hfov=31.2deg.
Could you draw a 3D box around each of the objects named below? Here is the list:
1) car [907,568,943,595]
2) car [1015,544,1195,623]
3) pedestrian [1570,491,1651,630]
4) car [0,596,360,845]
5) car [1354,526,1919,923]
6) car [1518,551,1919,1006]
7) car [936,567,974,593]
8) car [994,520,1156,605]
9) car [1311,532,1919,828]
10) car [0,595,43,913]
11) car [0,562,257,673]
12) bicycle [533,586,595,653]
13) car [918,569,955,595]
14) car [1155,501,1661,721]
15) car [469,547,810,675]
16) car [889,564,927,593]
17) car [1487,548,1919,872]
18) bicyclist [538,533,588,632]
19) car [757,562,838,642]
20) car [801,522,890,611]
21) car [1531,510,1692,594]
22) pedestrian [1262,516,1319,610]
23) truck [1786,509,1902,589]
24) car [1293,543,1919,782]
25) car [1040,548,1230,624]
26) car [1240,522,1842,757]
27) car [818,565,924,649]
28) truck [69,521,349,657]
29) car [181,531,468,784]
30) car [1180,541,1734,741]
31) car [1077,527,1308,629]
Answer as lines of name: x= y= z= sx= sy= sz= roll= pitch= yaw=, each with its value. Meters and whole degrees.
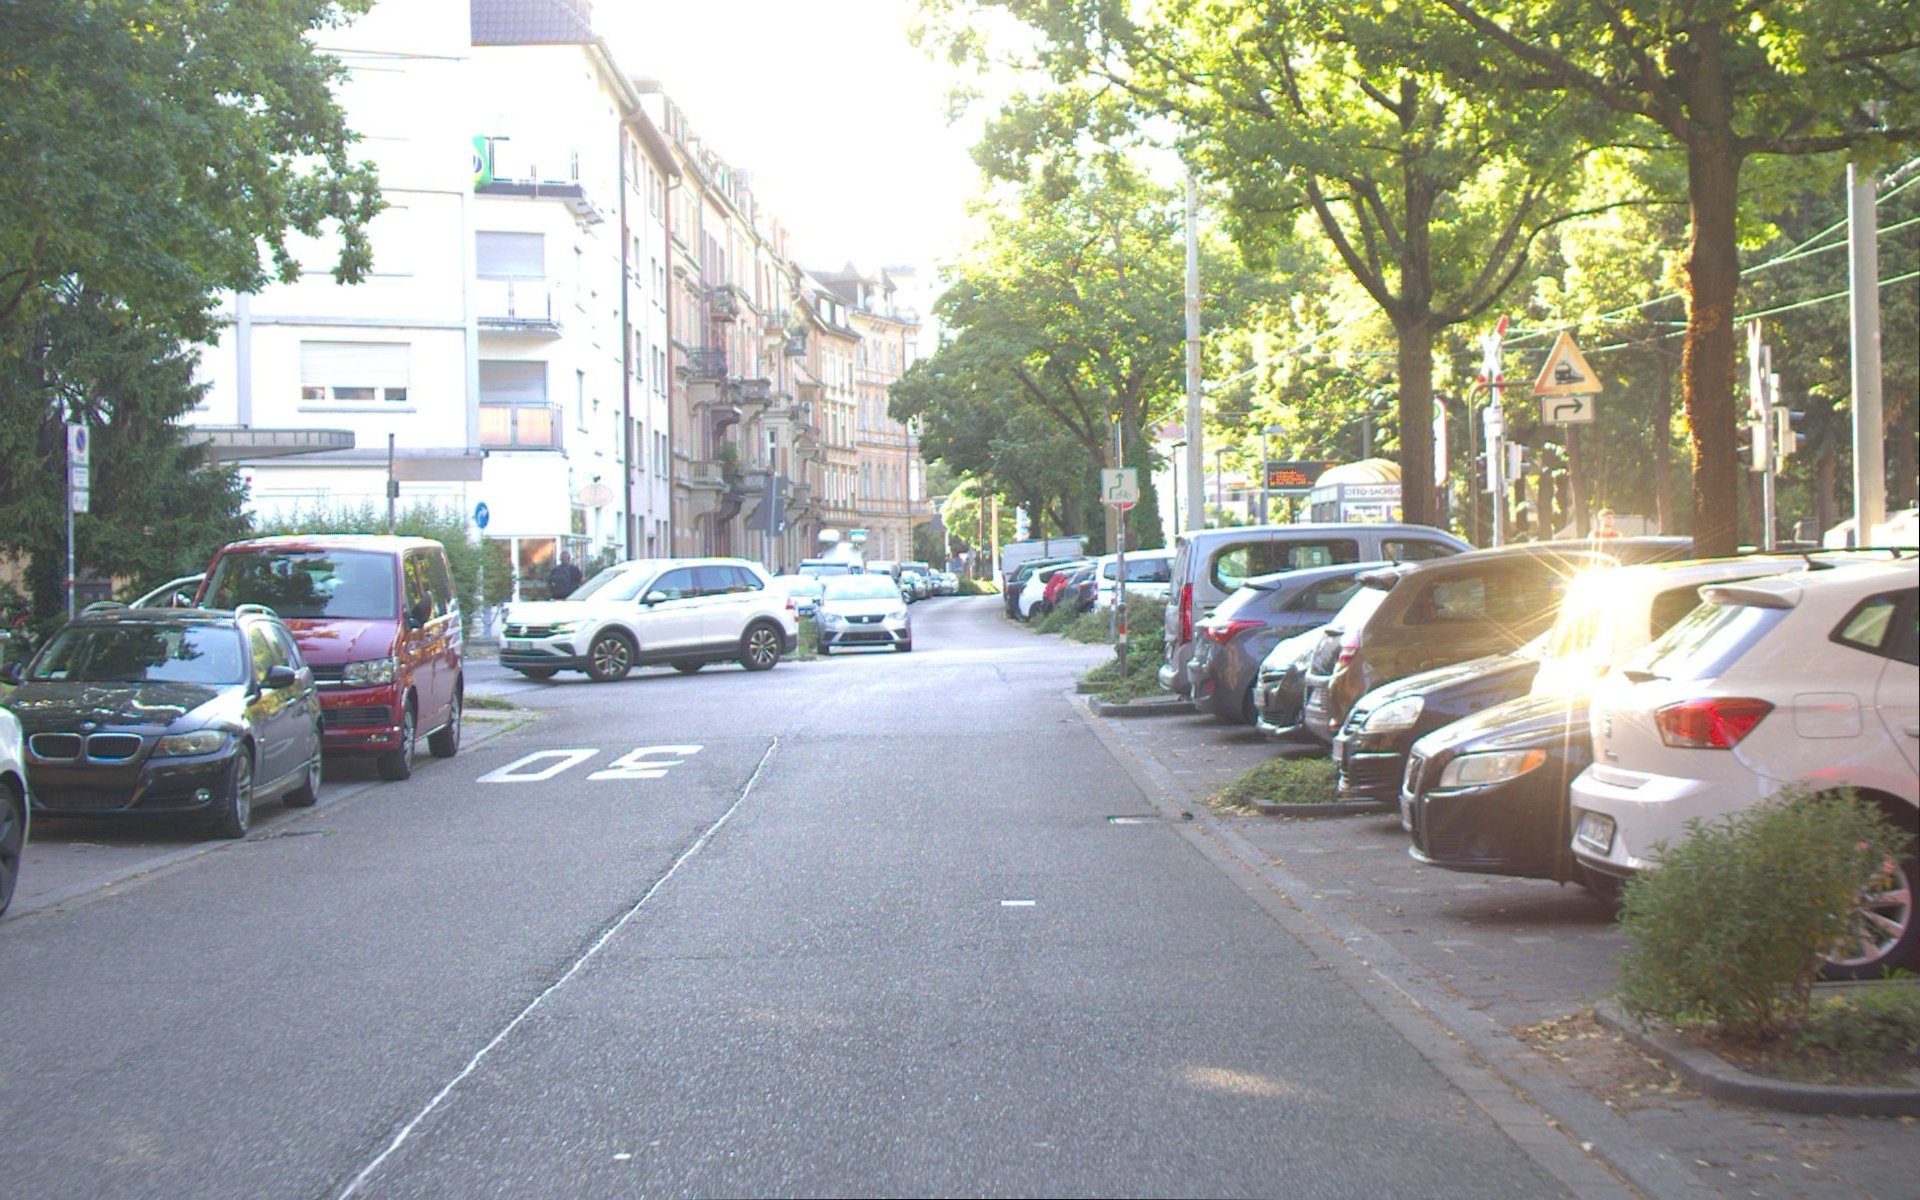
car: x=-2.042 y=-1.070 z=199.778 sx=1.711 sy=1.441 sz=4.000 roll=-2 pitch=1 yaw=4
car: x=3.751 y=-0.420 z=89.454 sx=4.236 sy=1.645 sz=1.854 roll=-5 pitch=0 yaw=36
pedestrian: x=9.173 y=-0.562 z=48.523 sx=0.902 sy=1.912 sz=1.150 roll=-1 pitch=1 yaw=0
car: x=-5.336 y=0.725 z=22.928 sx=1.776 sy=1.429 sz=4.270 roll=1 pitch=1 yaw=2
car: x=4.168 y=0.480 z=14.933 sx=4.701 sy=1.567 sz=2.000 roll=-1 pitch=0 yaw=2
car: x=4.136 y=0.536 z=12.227 sx=3.987 sy=1.456 sz=1.684 roll=-2 pitch=1 yaw=0
car: x=-0.306 y=-1.216 z=210.057 sx=1.711 sy=1.441 sz=3.999 roll=-2 pitch=1 yaw=8
car: x=4.178 y=-1.361 z=125.385 sx=5.259 sy=2.563 sz=2.270 roll=-5 pitch=0 yaw=28
car: x=4.489 y=0.434 z=20.064 sx=4.701 sy=1.567 sz=2.000 roll=-1 pitch=0 yaw=2
car: x=-5.397 y=0.731 z=14.497 sx=1.776 sy=1.470 sz=4.270 roll=1 pitch=1 yaw=2
car: x=-12.443 y=0.250 z=49.200 sx=4.282 sy=1.445 sz=1.923 roll=-1 pitch=2 yaw=3
bicycle: x=-6.563 y=0.309 z=57.100 sx=0.712 sy=1.047 sz=2.348 roll=-1 pitch=1 yaw=0
car: x=-1.377 y=-1.085 z=205.167 sx=1.711 sy=1.441 sz=3.999 roll=-2 pitch=1 yaw=6
car: x=4.159 y=0.106 z=32.507 sx=4.539 sy=1.908 sz=1.950 roll=-1 pitch=0 yaw=2
car: x=-4.436 y=0.129 z=48.024 sx=1.941 sy=1.641 sz=4.522 roll=-1 pitch=1 yaw=44
car: x=-2.752 y=-1.135 z=181.407 sx=1.711 sy=1.441 sz=4.000 roll=-2 pitch=1 yaw=3
car: x=4.510 y=0.509 z=17.517 sx=3.398 sy=1.509 sz=1.719 roll=-1 pitch=1 yaw=2
bicyclist: x=-6.584 y=-0.299 z=57.063 sx=0.712 sy=1.611 sz=0.723 roll=-1 pitch=1 yaw=0
car: x=-3.660 y=0.021 z=77.697 sx=1.710 sy=1.667 sz=4.000 roll=-2 pitch=1 yaw=-2
car: x=-3.912 y=-1.181 z=118.807 sx=2.552 sy=2.877 sz=5.481 roll=-2 pitch=1 yaw=3
car: x=20.147 y=-1.500 z=106.372 sx=4.493 sy=2.468 sz=1.816 roll=2 pitch=0 yaw=31
pedestrian: x=6.802 y=-0.766 z=70.800 sx=0.849 sy=1.904 sz=0.836 roll=-1 pitch=0 yaw=31
truck: x=26.960 y=-1.552 z=104.994 sx=2.366 sy=2.344 sz=4.384 roll=-1 pitch=1 yaw=0
car: x=4.765 y=0.437 z=24.888 sx=4.539 sy=1.567 sz=1.950 roll=-1 pitch=0 yaw=2
car: x=4.265 y=-0.351 z=83.947 sx=4.232 sy=1.453 sz=1.606 roll=-5 pitch=0 yaw=25
car: x=4.505 y=0.307 z=27.202 sx=4.435 sy=1.685 sz=1.950 roll=-1 pitch=0 yaw=2
car: x=-1.707 y=0.106 z=64.565 sx=1.710 sy=1.441 sz=4.001 roll=-3 pitch=1 yaw=-5
truck: x=-14.818 y=-0.239 z=67.942 sx=4.957 sy=2.526 sz=2.000 roll=-2 pitch=1 yaw=-34
car: x=-5.232 y=0.410 z=28.869 sx=1.776 sy=1.927 sz=4.773 roll=1 pitch=1 yaw=-3
car: x=4.222 y=0.348 z=29.822 sx=4.539 sy=1.567 sz=1.950 roll=-1 pitch=0 yaw=2
car: x=4.656 y=-0.428 z=69.034 sx=4.234 sy=1.647 sz=1.605 roll=-5 pitch=0 yaw=31
